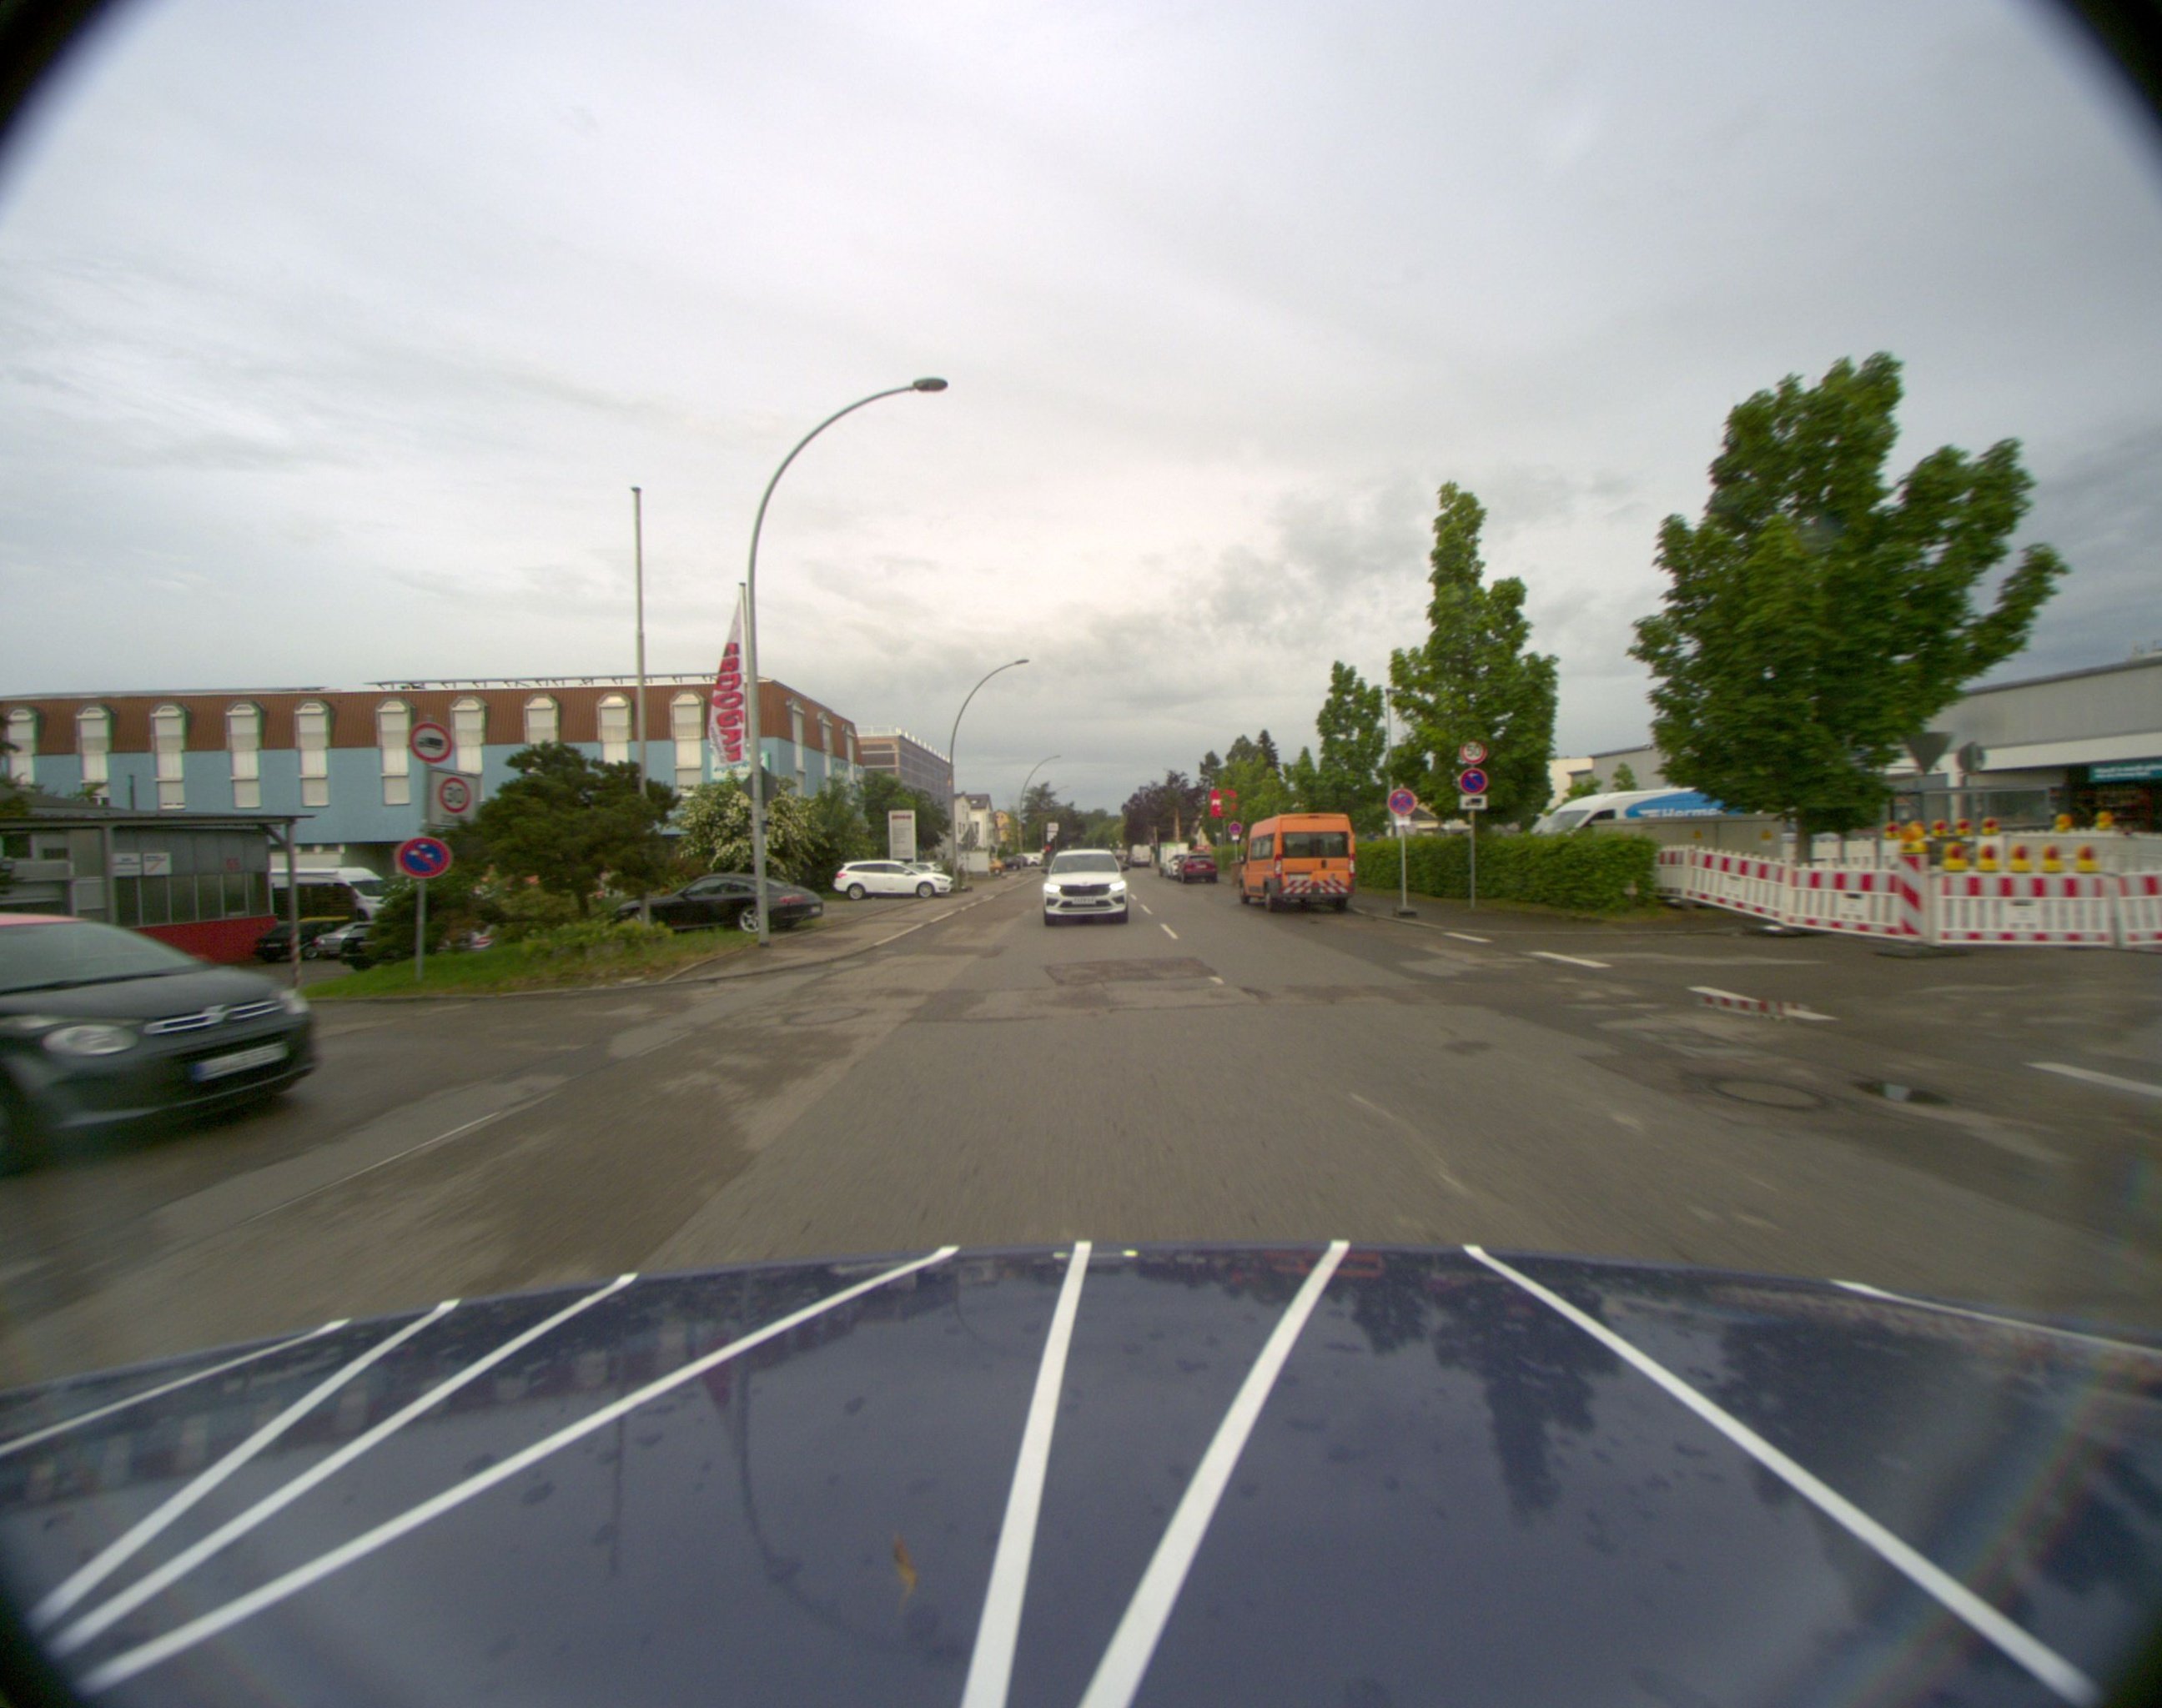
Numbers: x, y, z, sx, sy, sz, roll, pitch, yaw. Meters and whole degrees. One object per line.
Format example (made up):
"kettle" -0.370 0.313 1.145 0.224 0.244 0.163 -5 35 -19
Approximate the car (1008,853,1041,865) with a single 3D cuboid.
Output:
"car" -7.777 0.637 104.654 4.331 1.371 1.850 -3 1 0

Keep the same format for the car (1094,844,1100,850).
"car" 4.997 -2.154 236.616 1.898 1.678 4.230 -1 1 1

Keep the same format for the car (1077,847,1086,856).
"car" 0.118 -0.555 173.559 1.736 1.817 5.552 -4 1 2

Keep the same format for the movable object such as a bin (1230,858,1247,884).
"movable object such as a bin" 7.362 0.793 35.593 0.674 1.151 0.621 -3 2 5

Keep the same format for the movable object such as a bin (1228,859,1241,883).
"movable object such as a bin" 7.339 0.813 36.327 0.492 1.076 0.621 -3 1 5

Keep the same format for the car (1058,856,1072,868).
"car" -2.084 1.040 102.085 1.743 1.458 4.544 -3 1 0

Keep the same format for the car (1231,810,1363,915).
"car" 5.950 0.195 21.863 2.130 2.523 6.021 -2 0 1

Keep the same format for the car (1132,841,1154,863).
"car" 7.212 -0.254 88.765 2.163 2.413 6.459 1 1 1

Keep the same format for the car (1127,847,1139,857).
"car" 7.873 -0.311 115.382 1.620 1.500 3.660 -1 1 1

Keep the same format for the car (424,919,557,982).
"car" -18.950 3.049 24.572 1.709 1.467 3.281 -3 1 -2

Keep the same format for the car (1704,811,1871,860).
"car" 25.046 -0.644 27.045 4.064 1.469 1.918 -3 1 3

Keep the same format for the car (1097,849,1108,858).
"car" 3.869 -0.028 135.877 1.743 1.458 4.544 -3 1 0

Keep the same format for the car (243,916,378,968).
"car" -30.363 3.423 30.099 1.668 1.495 3.527 -3 1 1

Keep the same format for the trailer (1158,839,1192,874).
"trailer" 6.476 0.170 52.910 1.817 2.300 4.730 0 1 0

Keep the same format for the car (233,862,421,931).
"car" -34.313 1.884 34.746 5.942 2.694 2.449 -3 1 0

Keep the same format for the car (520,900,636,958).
"car" -16.550 2.427 25.178 1.622 1.467 3.281 -3 1 -2

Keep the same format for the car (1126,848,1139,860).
"car" 7.443 -0.031 110.242 1.665 1.575 3.915 0 1 0

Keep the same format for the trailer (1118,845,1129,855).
"trailer" 8.239 -0.789 147.080 1.934 1.755 4.548 -3 1 1

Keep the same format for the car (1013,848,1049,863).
"car" -7.056 0.203 106.981 4.743 1.875 2.000 -3 1 1

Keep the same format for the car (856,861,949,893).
"car" -9.416 1.187 40.401 4.427 1.385 1.880 -3 1 -1

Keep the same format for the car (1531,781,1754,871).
"car" 14.697 -0.719 20.093 4.316 2.002 2.062 -3 1 1

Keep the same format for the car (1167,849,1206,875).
"car" 6.411 0.458 46.502 1.777 1.490 4.136 -2 0 0

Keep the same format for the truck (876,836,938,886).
"truck" -14.234 0.508 62.328 4.155 3.653 2.719 -5 1 -1

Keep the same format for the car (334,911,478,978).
"car" -21.628 2.839 24.516 1.645 1.643 3.281 -3 1 -2

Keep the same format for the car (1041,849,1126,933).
"car" 0.018 0.763 17.958 1.692 1.651 3.999 -3 1 -1

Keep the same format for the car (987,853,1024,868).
"car" -8.736 0.739 88.346 3.975 1.481 1.833 -3 1 2

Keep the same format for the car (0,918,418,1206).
"car" -7.137 1.249 4.848 3.997 1.259 1.950 -3 1 -1

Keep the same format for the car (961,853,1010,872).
"car" -8.255 0.745 65.912 3.997 1.422 1.630 -2 1 0

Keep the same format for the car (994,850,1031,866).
"car" -8.132 0.479 90.462 4.237 1.665 1.980 -3 1 0

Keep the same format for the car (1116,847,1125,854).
"car" 8.707 -0.863 167.657 1.820 1.419 4.980 -1 1 1

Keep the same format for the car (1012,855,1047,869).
"car" -6.910 1.110 101.732 4.456 1.615 1.893 -3 1 0

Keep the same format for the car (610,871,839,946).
"car" -7.615 1.137 16.517 3.996 1.259 1.951 -3 1 3

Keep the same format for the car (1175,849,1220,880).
"car" 6.298 0.546 41.531 1.810 1.564 4.342 -1 0 0

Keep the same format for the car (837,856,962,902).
"car" -7.026 0.951 29.710 4.349 1.467 1.902 -3 1 0
